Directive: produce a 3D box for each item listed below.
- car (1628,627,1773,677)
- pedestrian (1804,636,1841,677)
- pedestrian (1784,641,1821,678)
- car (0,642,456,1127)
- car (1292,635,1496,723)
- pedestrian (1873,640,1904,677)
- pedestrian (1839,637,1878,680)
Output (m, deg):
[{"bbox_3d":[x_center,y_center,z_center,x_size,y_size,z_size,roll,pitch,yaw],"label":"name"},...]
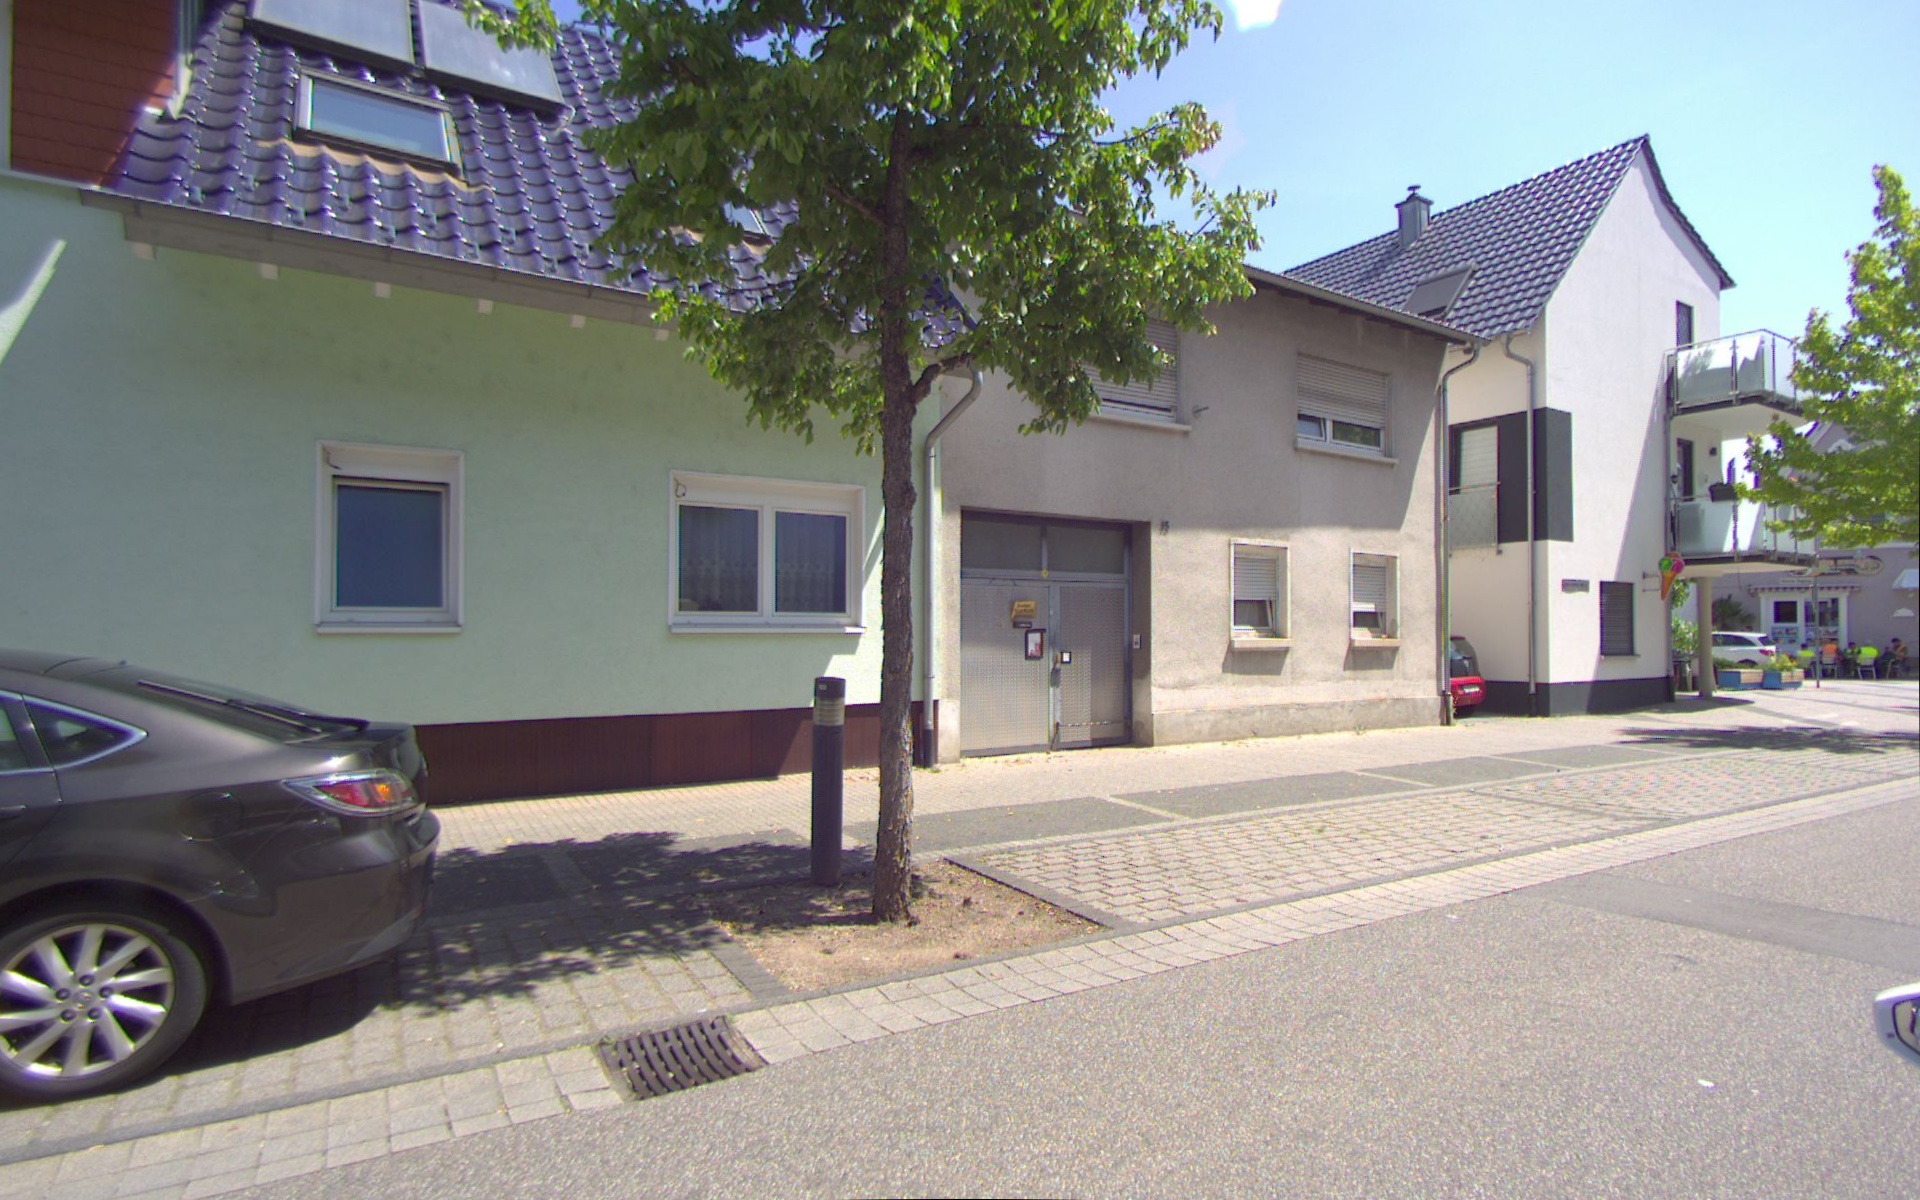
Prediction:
[{"bbox_3d":[25.245,1.728,34.317,3.873,1.566,1.510,-2,-1,42],"label":"car"},{"bbox_3d":[28.627,1.866,33.360,0.623,1.306,0.790,2,0,15],"label":"pedestrian"},{"bbox_3d":[27.767,1.956,33.103,0.623,1.131,0.790,2,0,15],"label":"pedestrian"},{"bbox_3d":[-4.205,0.885,3.297,4.484,1.455,1.653,1,-2,-30],"label":"car"},{"bbox_3d":[7.881,1.374,18.431,1.572,1.462,3.092,1,-2,-36],"label":"car"},{"bbox_3d":[30.186,1.899,32.663,0.690,1.194,0.618,1,-2,-36],"label":"pedestrian"},{"bbox_3d":[28.985,1.887,32.422,0.623,1.306,0.790,2,0,15],"label":"pedestrian"}]
